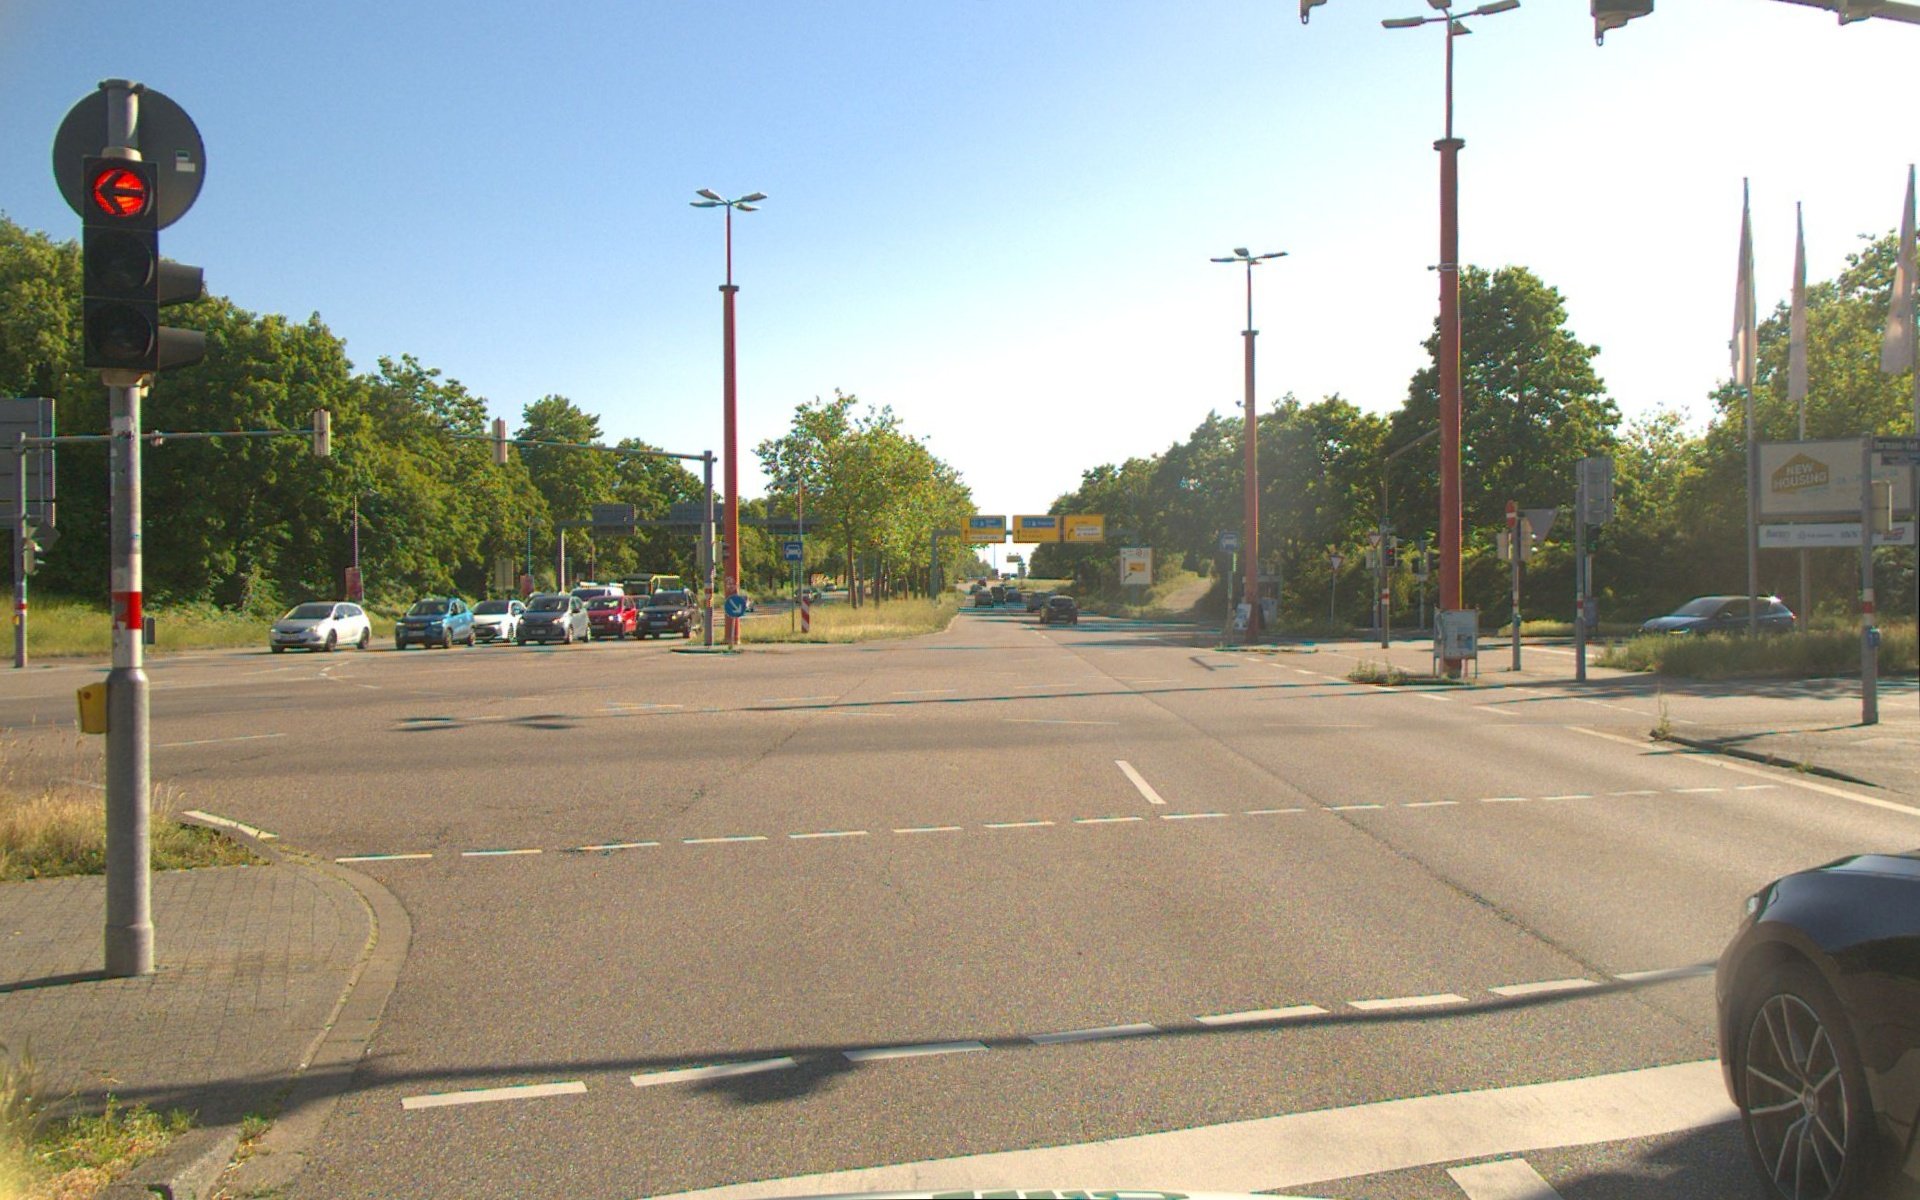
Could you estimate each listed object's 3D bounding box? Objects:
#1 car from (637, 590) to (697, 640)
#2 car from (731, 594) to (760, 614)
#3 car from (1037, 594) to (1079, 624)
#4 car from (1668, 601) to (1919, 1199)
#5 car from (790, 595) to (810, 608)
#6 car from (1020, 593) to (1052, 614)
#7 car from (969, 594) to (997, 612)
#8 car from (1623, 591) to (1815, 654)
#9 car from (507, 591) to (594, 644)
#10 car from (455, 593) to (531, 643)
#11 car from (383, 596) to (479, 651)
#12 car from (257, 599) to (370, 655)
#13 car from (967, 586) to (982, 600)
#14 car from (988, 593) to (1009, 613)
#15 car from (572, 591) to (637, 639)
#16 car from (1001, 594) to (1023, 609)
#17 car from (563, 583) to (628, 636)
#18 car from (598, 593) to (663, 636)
[{"bbox_3d":[-9.875,0.475,55.992,1.841,1.601,4.113,0,0,-8],"label":"car"},{"bbox_3d":[-18.111,0.342,139.978,1.953,1.601,4.120,0,0,-1],"label":"car"},{"bbox_3d":[5.363,0.464,90.614,2.114,1.601,4.281,0,0,1],"label":"car"},{"bbox_3d":[2.972,0.716,2.362,1.953,1.419,4.476,0,0,-1],"label":"car"},{"bbox_3d":[-18.095,0.191,187.195,1.846,1.480,3.656,0,0,0],"label":"car"},{"bbox_3d":[6.144,0.279,134.403,2.116,1.601,4.277,0,0,-4],"label":"car"},{"bbox_3d":[2.156,0.286,155.379,2.202,1.601,4.276,0,0,-5],"label":"car"},{"bbox_3d":[18.758,0.531,40.902,4.202,1.453,1.874,0,0,-19],"label":"car"},{"bbox_3d":[-12.806,0.525,51.965,1.954,1.601,4.118,0,0,-4],"label":"car"},{"bbox_3d":[-15.992,0.600,56.785,1.956,1.601,4.113,-1,0,-8],"label":"car"},{"bbox_3d":[-16.209,0.685,50.891,1.955,1.601,4.116,0,0,-5],"label":"car"},{"bbox_3d":[-19.587,0.789,50.298,1.954,1.601,4.118,0,0,-3],"label":"car"},{"bbox_3d":[2.003,-0.968,233.007,1.953,2.049,3.999,0,0,-1],"label":"car"},{"bbox_3d":[3.987,0.267,172.243,1.953,2.049,3.999,0,0,-1],"label":"car"},{"bbox_3d":[-12.480,0.510,58.272,1.956,1.601,4.113,0,0,-8],"label":"car"},{"bbox_3d":[5.896,0.159,188.355,2.116,1.601,4.277,0,0,-4],"label":"car"},{"bbox_3d":[-15.673,0.389,71.265,2.021,2.231,4.376,0,0,-3],"label":"car"},{"bbox_3d":[-12.713,0.531,64.047,1.954,1.601,4.117,0,0,-4],"label":"car"}]
